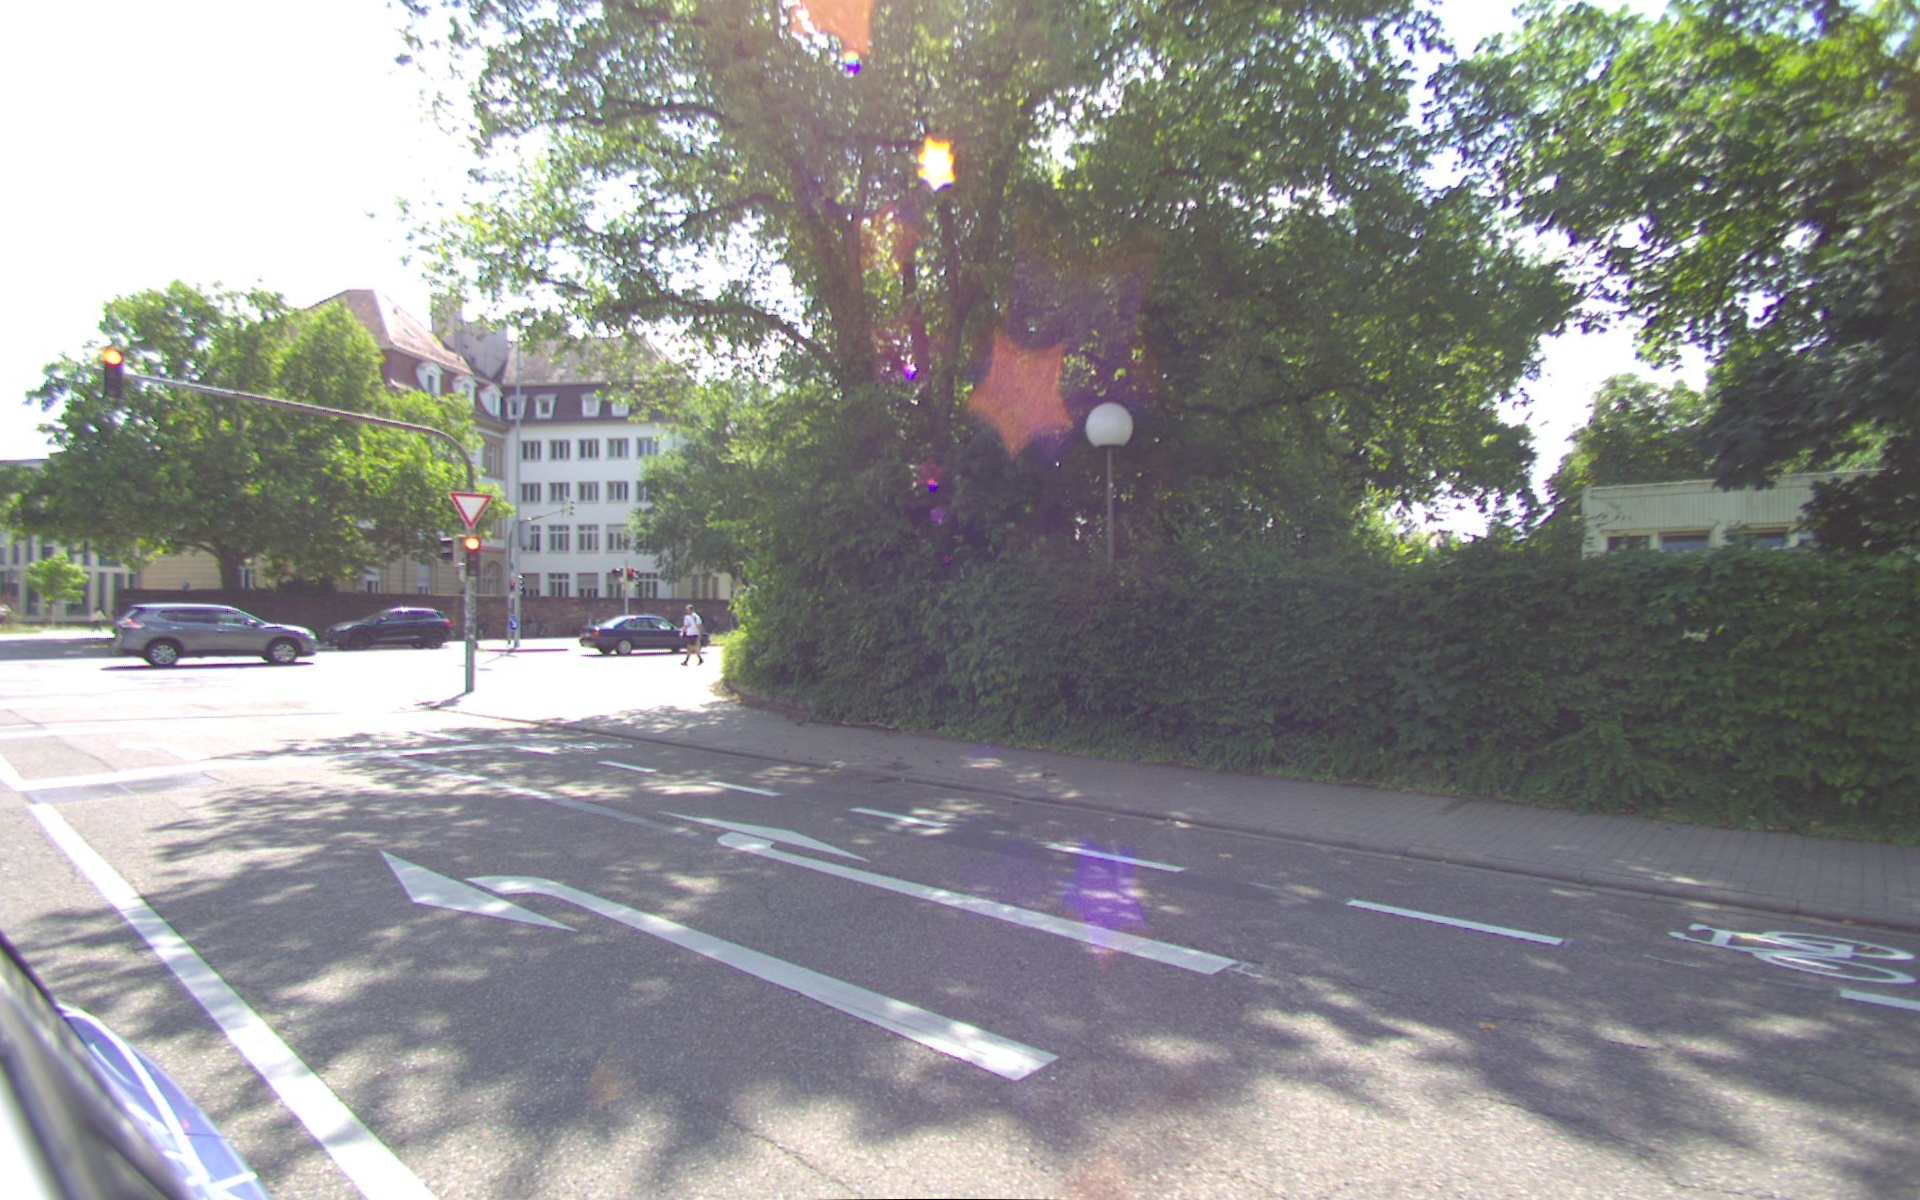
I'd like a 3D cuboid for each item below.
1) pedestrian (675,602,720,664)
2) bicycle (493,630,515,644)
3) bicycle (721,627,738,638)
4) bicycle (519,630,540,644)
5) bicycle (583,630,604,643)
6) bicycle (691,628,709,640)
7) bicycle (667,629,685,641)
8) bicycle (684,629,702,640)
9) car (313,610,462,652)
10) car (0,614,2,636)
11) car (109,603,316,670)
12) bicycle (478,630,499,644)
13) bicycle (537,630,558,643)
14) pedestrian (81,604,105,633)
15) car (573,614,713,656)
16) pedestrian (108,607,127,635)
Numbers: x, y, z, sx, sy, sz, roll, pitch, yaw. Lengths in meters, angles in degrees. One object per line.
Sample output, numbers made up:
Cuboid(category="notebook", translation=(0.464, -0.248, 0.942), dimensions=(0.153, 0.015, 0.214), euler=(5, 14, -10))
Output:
Cuboid(category="pedestrian", translation=(-7.413, 0.944, 28.558), dimensions=(0.854, 1.714, 0.917), euler=(-3, -3, 45))
Cuboid(category="bicycle", translation=(-23.998, 1.946, 53.237), dimensions=(0.999, 0.687, 0.406), euler=(2, 0, 17))
Cuboid(category="bicycle", translation=(-14.983, 2.119, 65.909), dimensions=(0.994, 0.687, 0.408), euler=(2, 0, 4))
Cuboid(category="bicycle", translation=(-23.093, 1.971, 54.274), dimensions=(0.999, 0.687, 0.406), euler=(2, 0, 17))
Cuboid(category="bicycle", translation=(-20.728, 2.038, 57.232), dimensions=(0.994, 0.687, 0.408), euler=(2, 0, 4))
Cuboid(category="bicycle", translation=(-16.373, 2.155, 63.821), dimensions=(0.994, 0.687, 0.408), euler=(2, 0, 4))
Cuboid(category="bicycle", translation=(-17.402, 2.131, 62.039), dimensions=(0.994, 0.687, 0.408), euler=(2, 0, 4))
Cuboid(category="bicycle", translation=(-16.664, 2.152, 63.088), dimensions=(0.994, 0.687, 0.408), euler=(2, 0, 4))
Cuboid(category="car", translation=(-22.224, 1.166, 39.412), dimensions=(1.999, 1.540, 4.650), euler=(-1, -2, 42))
Cuboid(category="car", translation=(-57.530, 1.436, 57.311), dimensions=(1.978, 1.316, 4.480), euler=(2, 0, 10))
Cuboid(category="car", translation=(-20.577, 0.956, 27.964), dimensions=(4.410, 1.691, 1.827), euler=(1, -1, -43))
Cuboid(category="bicycle", translation=(-24.456, 1.933, 52.487), dimensions=(0.999, 0.687, 0.406), euler=(2, 0, 17))
Cuboid(category="bicycle", translation=(-22.555, 1.987, 55.345), dimensions=(0.999, 0.687, 0.406), euler=(2, 0, 17))
Cuboid(category="pedestrian", translation=(-54.831, 1.196, 64.007), dimensions=(0.877, 1.803, 0.846), euler=(-1, -1, -21))
Cuboid(category="car", translation=(-11.445, 1.232, 36.711), dimensions=(4.541, 1.397, 1.700), euler=(1, -1, -40))
Cuboid(category="pedestrian", translation=(-53.570, 1.333, 64.386), dimensions=(0.851, 1.803, 0.845), euler=(1, -2, -37))
